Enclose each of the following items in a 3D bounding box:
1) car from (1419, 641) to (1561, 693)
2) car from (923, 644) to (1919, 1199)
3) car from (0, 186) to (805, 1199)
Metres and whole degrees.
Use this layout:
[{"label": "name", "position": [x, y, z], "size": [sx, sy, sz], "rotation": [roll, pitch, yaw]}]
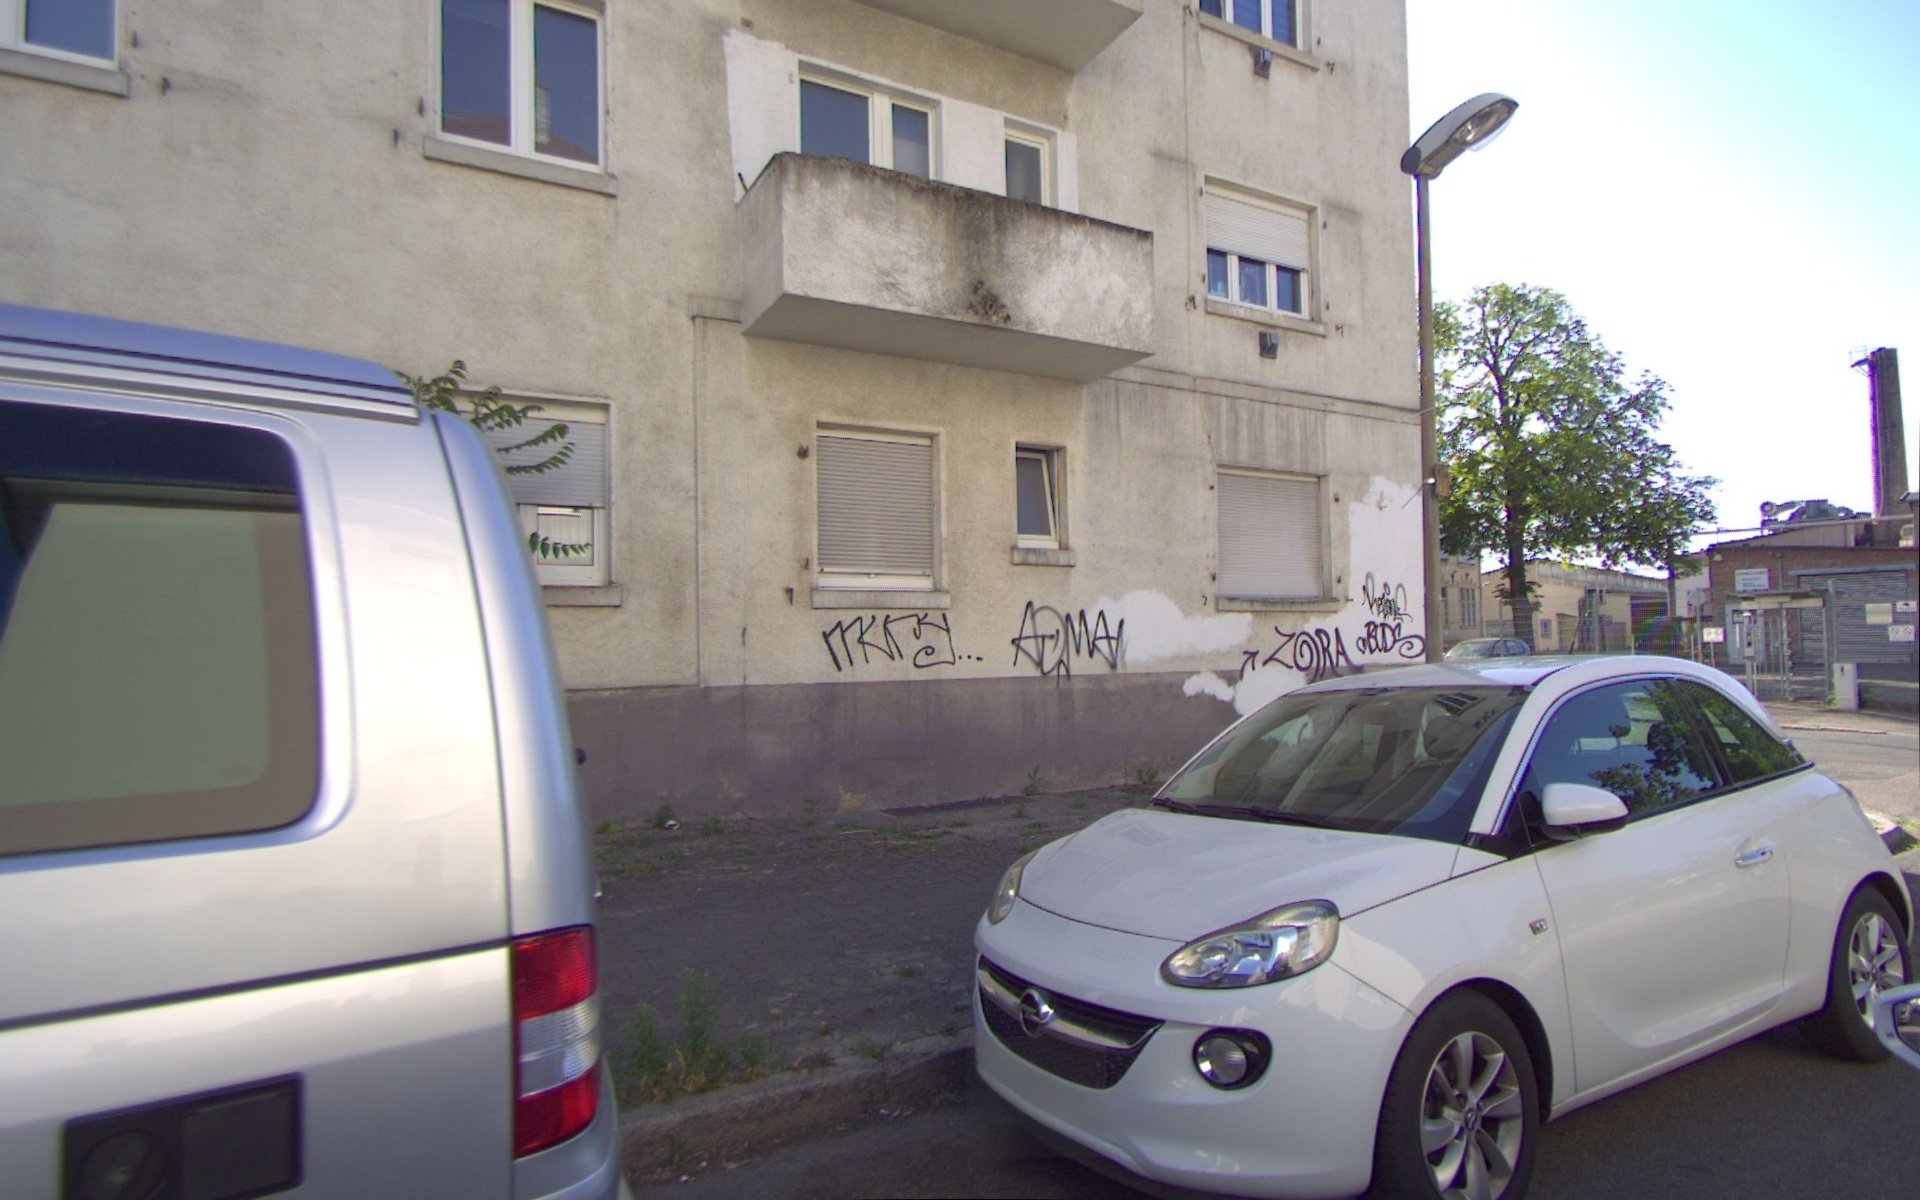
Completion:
[{"label": "car", "position": [15.950, 1.985, 30.211], "size": [3.954, 1.438, 1.984], "rotation": [1, -3, -31]}, {"label": "car", "position": [1.883, 0.958, 3.778], "size": [3.675, 1.477, 1.681], "rotation": [1, -5, -29]}, {"label": "car", "position": [-2.770, 0.602, 1.072], "size": [4.799, 1.958, 1.943], "rotation": [1, -5, -30]}]
